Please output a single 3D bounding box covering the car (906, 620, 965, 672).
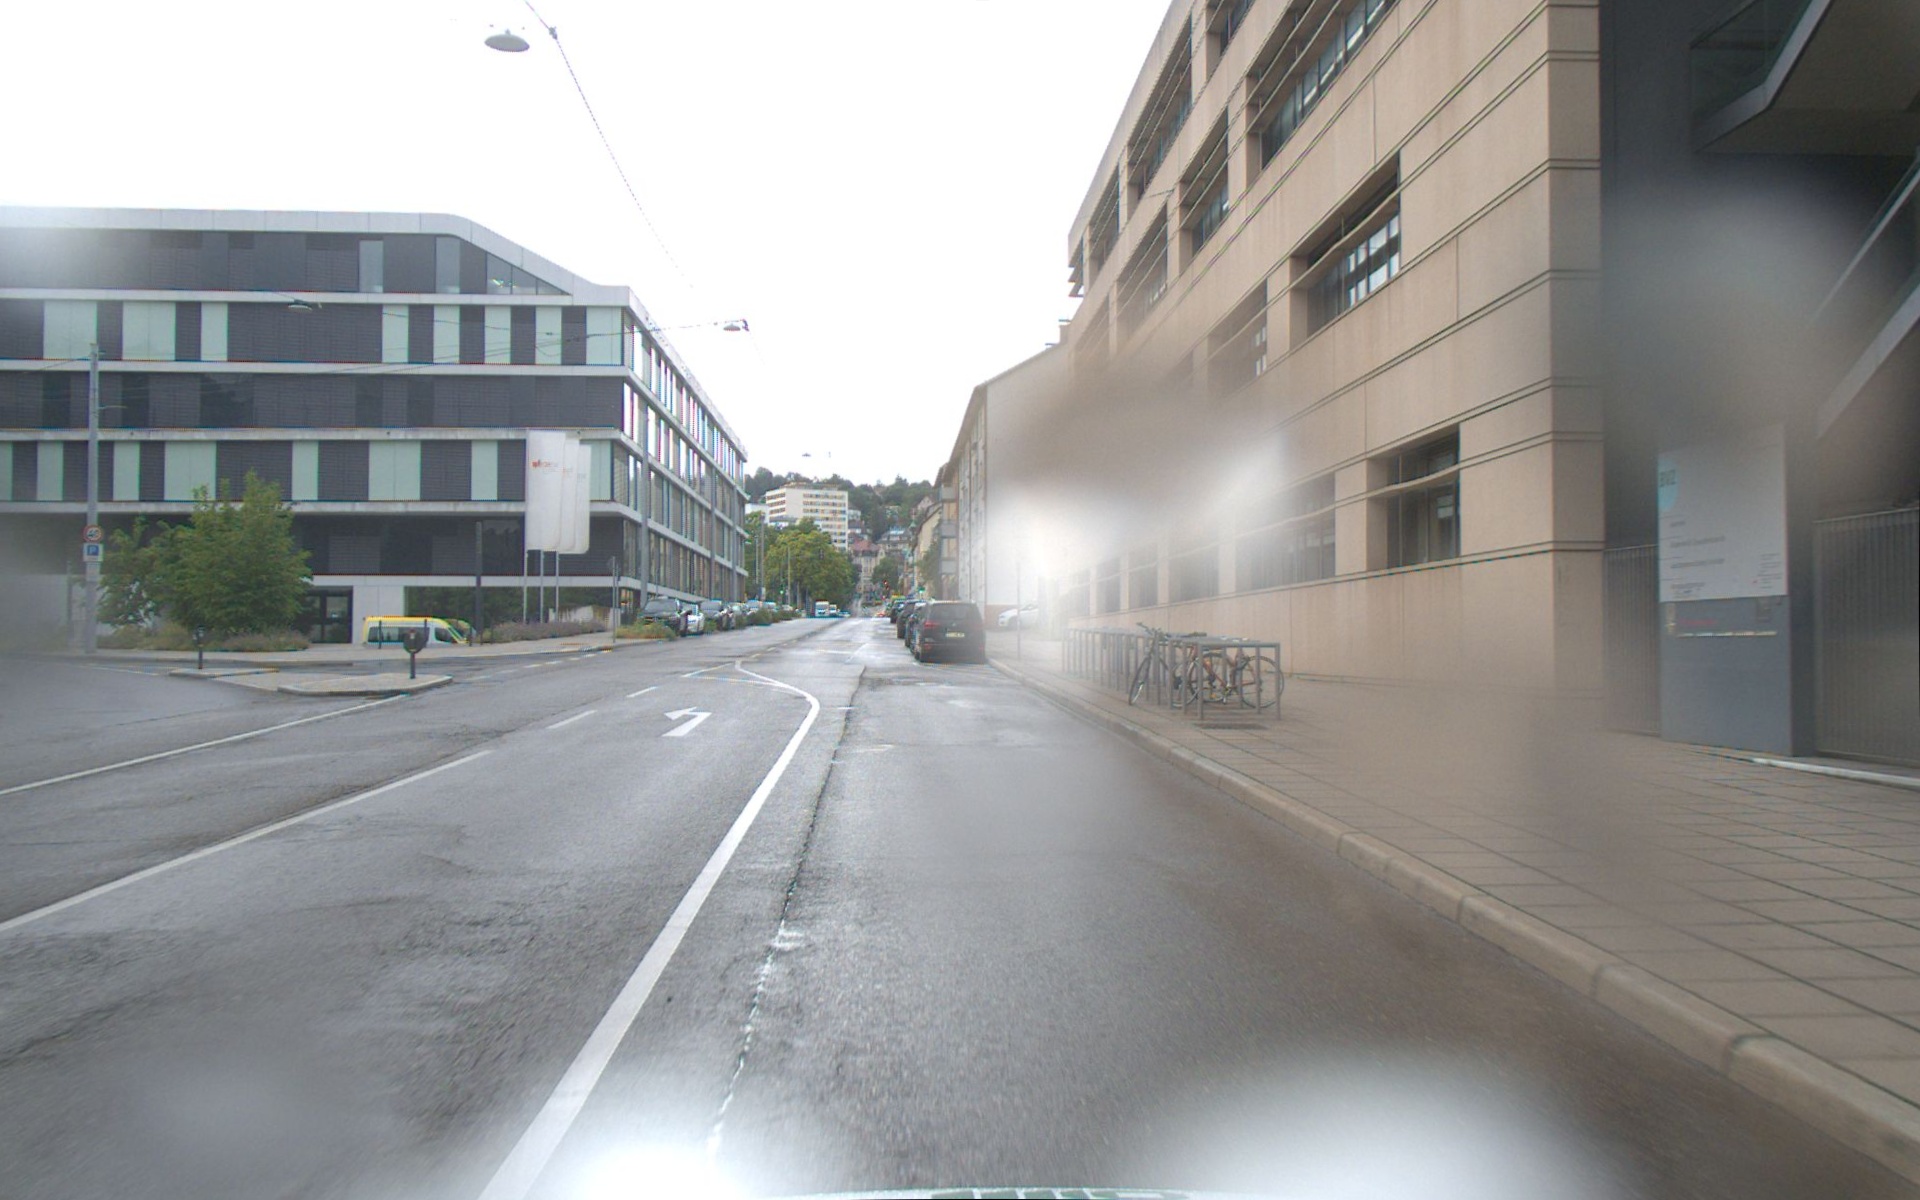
[{"bbox_3d":[-0.818,1.481,53.502,1.691,1.539,4.054,2,-1,-3],"label":"car"}]

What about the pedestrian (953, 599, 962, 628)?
[{"bbox_3d":[-0.170,0.906,110.615,0.626,1.903,0.538,1,-1,-1],"label":"pedestrian"}]

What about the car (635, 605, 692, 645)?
[{"bbox_3d":[-12.982,1.087,72.642,1.812,1.646,4.488,1,-1,-3],"label":"car"}]

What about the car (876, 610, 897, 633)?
[{"bbox_3d":[-5.950,1.746,132.904,1.622,1.768,4.177,1,0,-3],"label":"car"}]

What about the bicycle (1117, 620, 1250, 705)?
[{"bbox_3d":[3.049,0.850,22.616,1.697,1.138,0.658,0,-1,-8],"label":"bicycle"}]

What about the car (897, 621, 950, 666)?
[{"bbox_3d":[-1.391,1.569,60.903,1.709,1.560,4.315,1,-1,-4],"label":"car"}]

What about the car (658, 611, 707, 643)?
[{"bbox_3d":[-13.273,1.282,79.332,1.784,1.443,4.399,1,-1,-3],"label":"car"}]

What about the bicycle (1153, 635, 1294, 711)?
[{"bbox_3d":[3.441,0.943,21.655,1.725,0.970,0.659,0,-1,-6],"label":"bicycle"}]

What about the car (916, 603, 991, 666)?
[{"bbox_3d":[-0.220,0.926,45.283,1.736,1.632,4.390,1,-1,-4],"label":"car"}]

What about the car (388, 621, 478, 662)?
[{"bbox_3d":[-28.086,2.222,88.228,4.255,2.068,1.597,1,-1,-3],"label":"car"}]

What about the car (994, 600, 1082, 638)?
[{"bbox_3d":[4.079,0.991,86.960,4.350,1.742,1.903,-3,-1,-4],"label":"car"}]

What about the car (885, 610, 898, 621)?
[{"bbox_3d":[-10.548,2.386,254.331,1.828,1.632,4.189,1,-1,0],"label":"car"}]

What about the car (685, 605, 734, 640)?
[{"bbox_3d":[-13.507,1.204,89.419,1.923,1.781,4.941,1,-1,-1],"label":"car"}]

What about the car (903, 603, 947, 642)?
[{"bbox_3d":[-1.700,1.064,78.254,1.897,1.781,4.793,1,-1,-3],"label":"car"}]

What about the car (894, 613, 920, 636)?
[{"bbox_3d":[-3.606,1.674,112.325,1.672,1.480,3.982,1,-1,-3],"label":"car"}]

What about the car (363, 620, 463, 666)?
[{"bbox_3d":[-27.799,2.181,84.213,4.505,2.212,1.927,1,-1,-9],"label":"car"}]

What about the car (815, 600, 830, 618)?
[{"bbox_3d":[-19.882,1.331,239.410,2.064,2.591,4.745,1,-1,-5],"label":"car"}]
